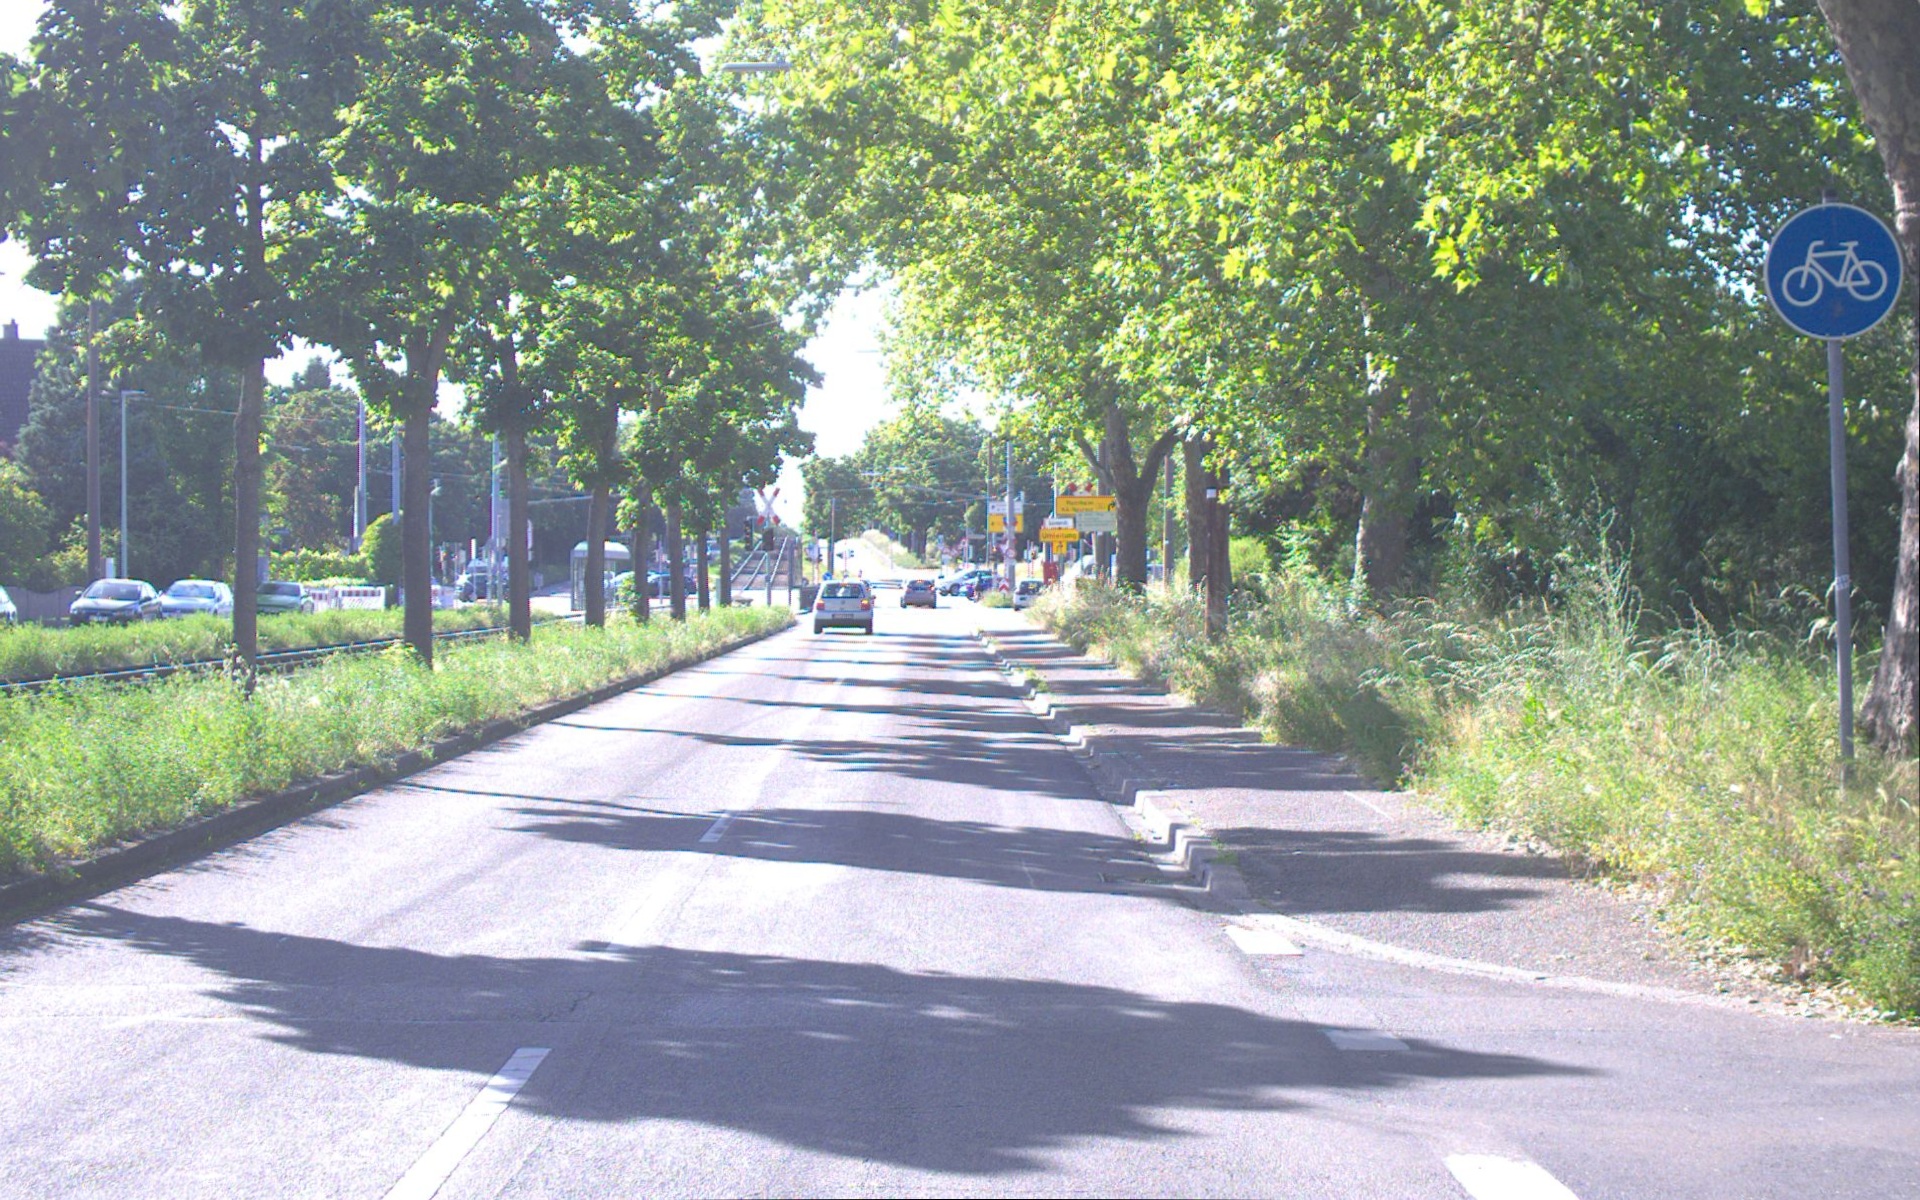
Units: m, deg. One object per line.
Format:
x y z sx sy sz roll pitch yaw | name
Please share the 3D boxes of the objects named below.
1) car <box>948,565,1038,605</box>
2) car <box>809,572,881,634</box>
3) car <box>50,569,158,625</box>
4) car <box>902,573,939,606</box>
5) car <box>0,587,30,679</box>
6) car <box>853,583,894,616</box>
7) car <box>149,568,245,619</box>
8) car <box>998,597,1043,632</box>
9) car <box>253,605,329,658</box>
2.020 -0.905 210.315 5.146 2.267 2.001 2 0 -24 | car
-3.125 0.082 94.056 1.860 1.595 4.228 2 0 -1 | car
-22.779 -0.067 91.641 1.860 1.408 4.158 2 0 -1 | car
-2.002 -0.510 171.976 1.791 1.554 4.228 2 0 -1 | car
-17.001 0.546 57.410 1.660 1.547 4.810 2 0 -1 | car
-4.449 -0.032 177.209 1.993 1.598 4.473 2 0 -1 | car
-22.535 -0.187 101.675 1.860 1.426 4.462 2 0 -1 | car
2.878 0.669 164.153 1.993 1.598 4.473 2 0 -1 | car
-22.696 1.046 116.754 1.778 1.701 4.228 2 0 -1 | car
